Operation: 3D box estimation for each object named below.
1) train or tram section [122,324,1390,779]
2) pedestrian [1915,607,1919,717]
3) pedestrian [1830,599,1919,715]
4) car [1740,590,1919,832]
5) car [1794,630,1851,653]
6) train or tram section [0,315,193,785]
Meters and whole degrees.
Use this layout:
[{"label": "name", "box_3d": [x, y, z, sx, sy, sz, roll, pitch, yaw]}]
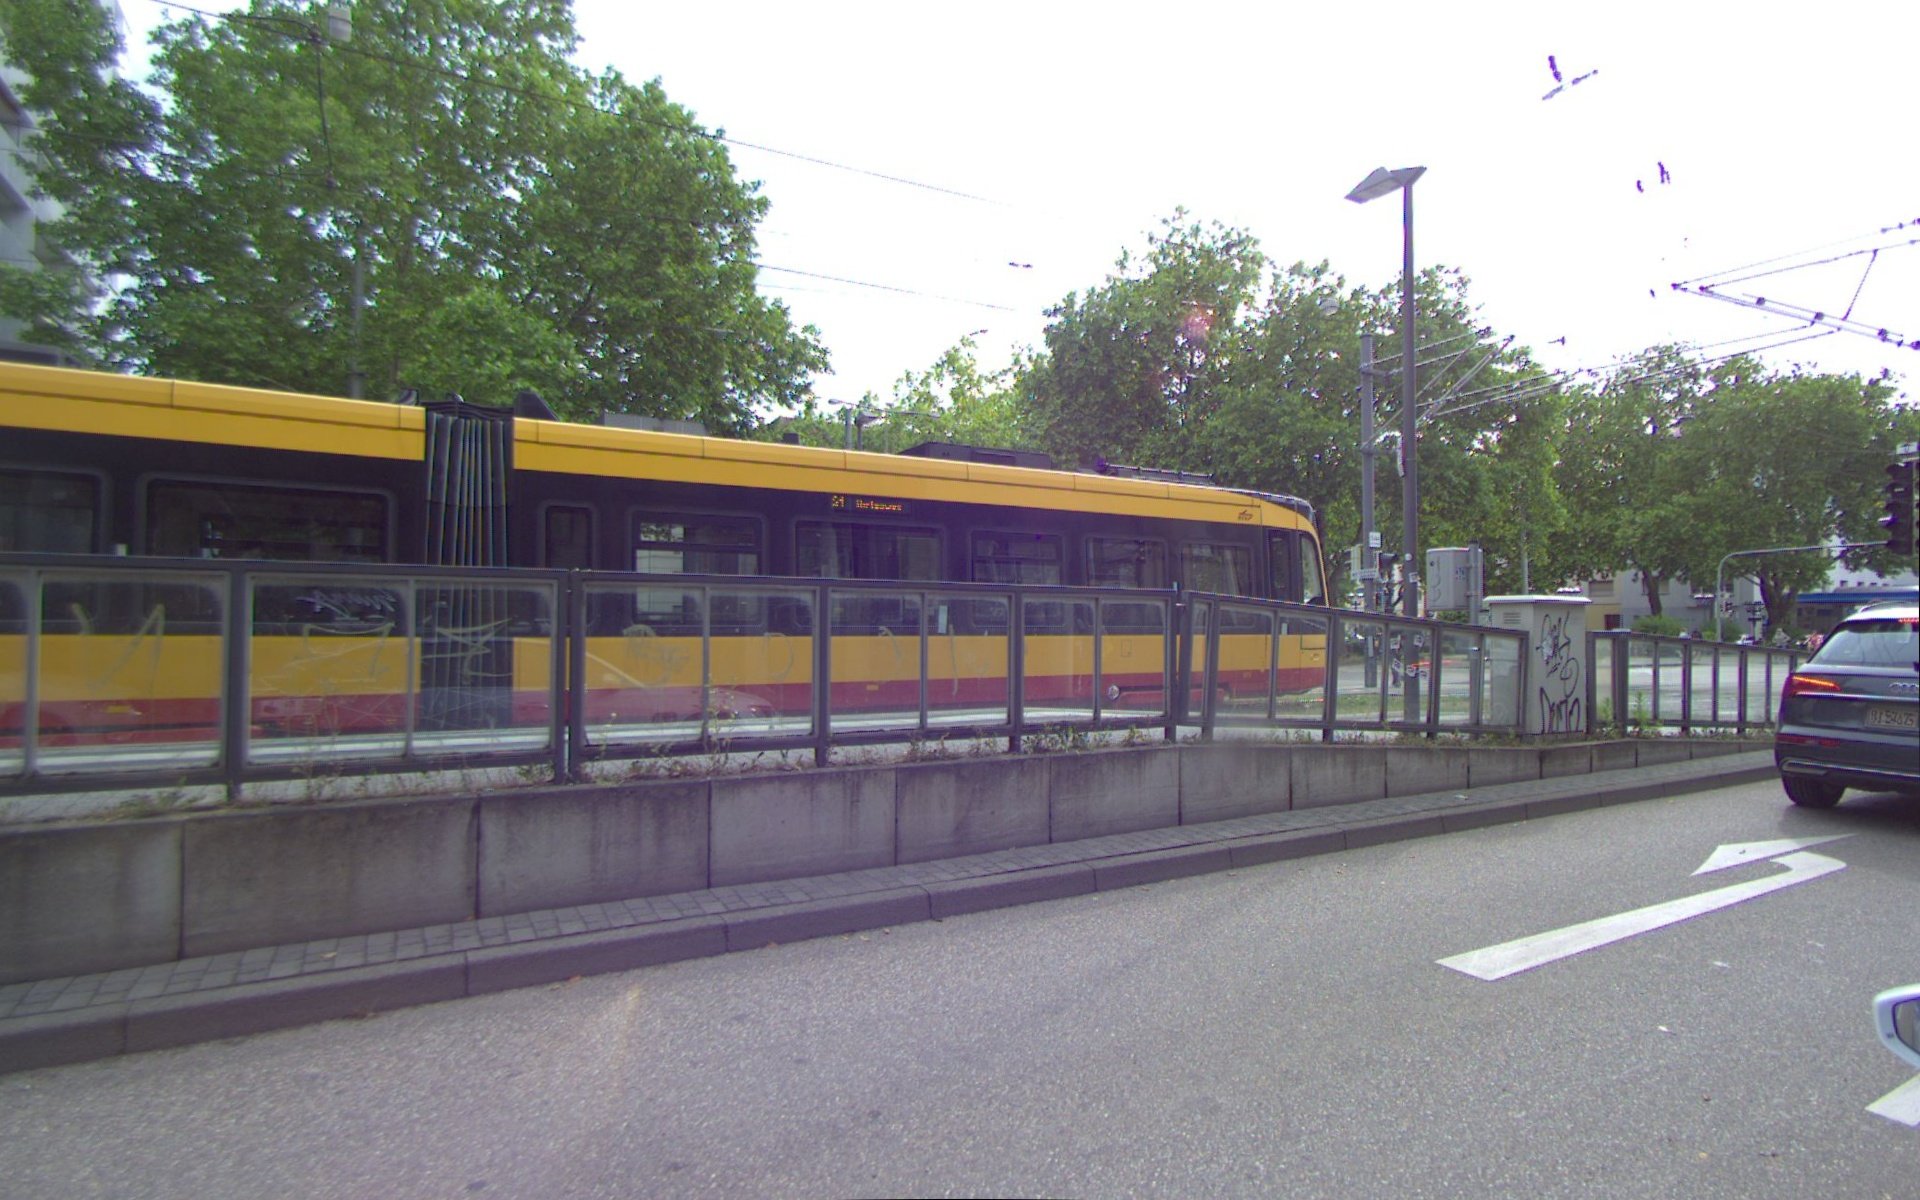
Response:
[{"label": "train or tram section", "box_3d": [-0.670, -0.214, 13.343, 15.664, 3.636, 3.045, 1, 0, -31]}, {"label": "pedestrian", "box_3d": [14.999, 0.945, 14.924, 0.976, 1.674, 0.628, 1, 0, 6]}, {"label": "pedestrian", "box_3d": [14.942, 0.906, 16.430, 0.999, 1.837, 0.582, 1, 0, 38]}, {"label": "car", "box_3d": [8.219, 0.788, 7.916, 4.307, 1.622, 1.871, 1, -1, -31]}, {"label": "car", "box_3d": [62.364, 2.978, 72.609, 3.953, 1.550, 1.984, 1, 0, -30]}, {"label": "train or tram section", "box_3d": [-13.936, -0.534, 5.486, 15.116, 3.579, 3.045, 1, 0, -31]}]
